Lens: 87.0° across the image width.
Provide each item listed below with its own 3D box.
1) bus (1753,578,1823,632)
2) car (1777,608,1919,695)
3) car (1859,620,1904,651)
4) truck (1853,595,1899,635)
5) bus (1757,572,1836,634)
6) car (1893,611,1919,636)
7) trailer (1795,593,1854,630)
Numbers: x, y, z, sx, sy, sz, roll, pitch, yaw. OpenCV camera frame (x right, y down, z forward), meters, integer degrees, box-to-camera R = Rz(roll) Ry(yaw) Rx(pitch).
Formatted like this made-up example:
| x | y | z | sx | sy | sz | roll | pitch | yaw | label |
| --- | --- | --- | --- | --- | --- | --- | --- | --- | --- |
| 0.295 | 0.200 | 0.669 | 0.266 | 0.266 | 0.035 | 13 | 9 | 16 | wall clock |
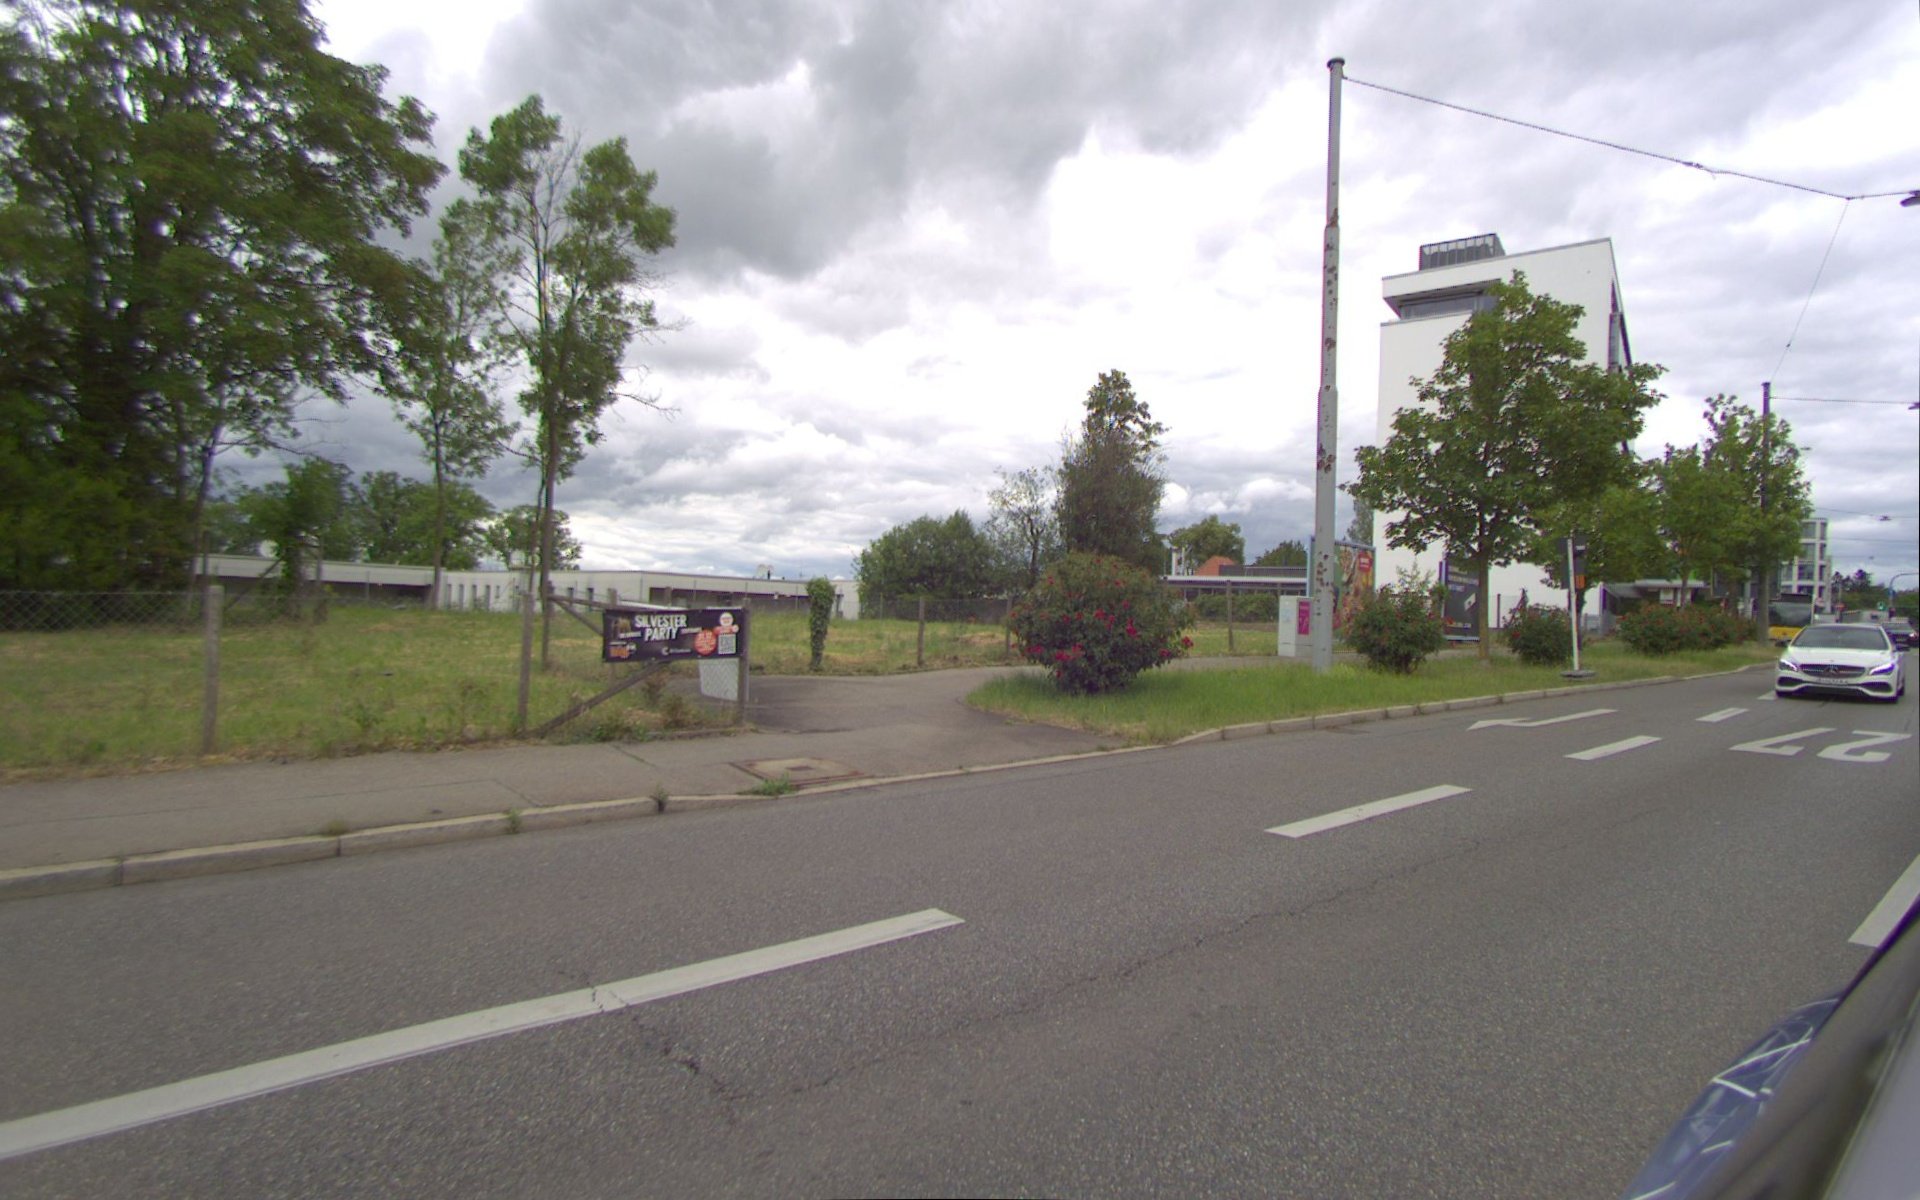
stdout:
| x | y | z | sx | sy | sz | roll | pitch | yaw | label |
| --- | --- | --- | --- | --- | --- | --- | --- | --- | --- |
| 53.819 | 0.368 | 66.002 | 3.029 | 3.276 | 9.212 | 2 | 0 | 37 | bus |
| 17.804 | 0.964 | 20.027 | 4.691 | 1.525 | 1.870 | 2 | -2 | -42 | car |
| 48.792 | 1.845 | 53.562 | 1.730 | 1.501 | 4.300 | 0 | -1 | 43 | car |
| 99.520 | 1.711 | 110.034 | 2.934 | 4.007 | 9.034 | 4 | 1 | 39 | truck |
| 48.219 | 0.218 | 58.550 | 2.975 | 3.282 | 9.732 | 1 | 0 | 37 | bus |
| 62.785 | 1.559 | 66.486 | 4.292 | 1.573 | 1.734 | 1 | -1 | -41 | car |
| 111.716 | 1.589 | 131.010 | 3.086 | 4.324 | 14.685 | 2 | -1 | 30 | trailer |
